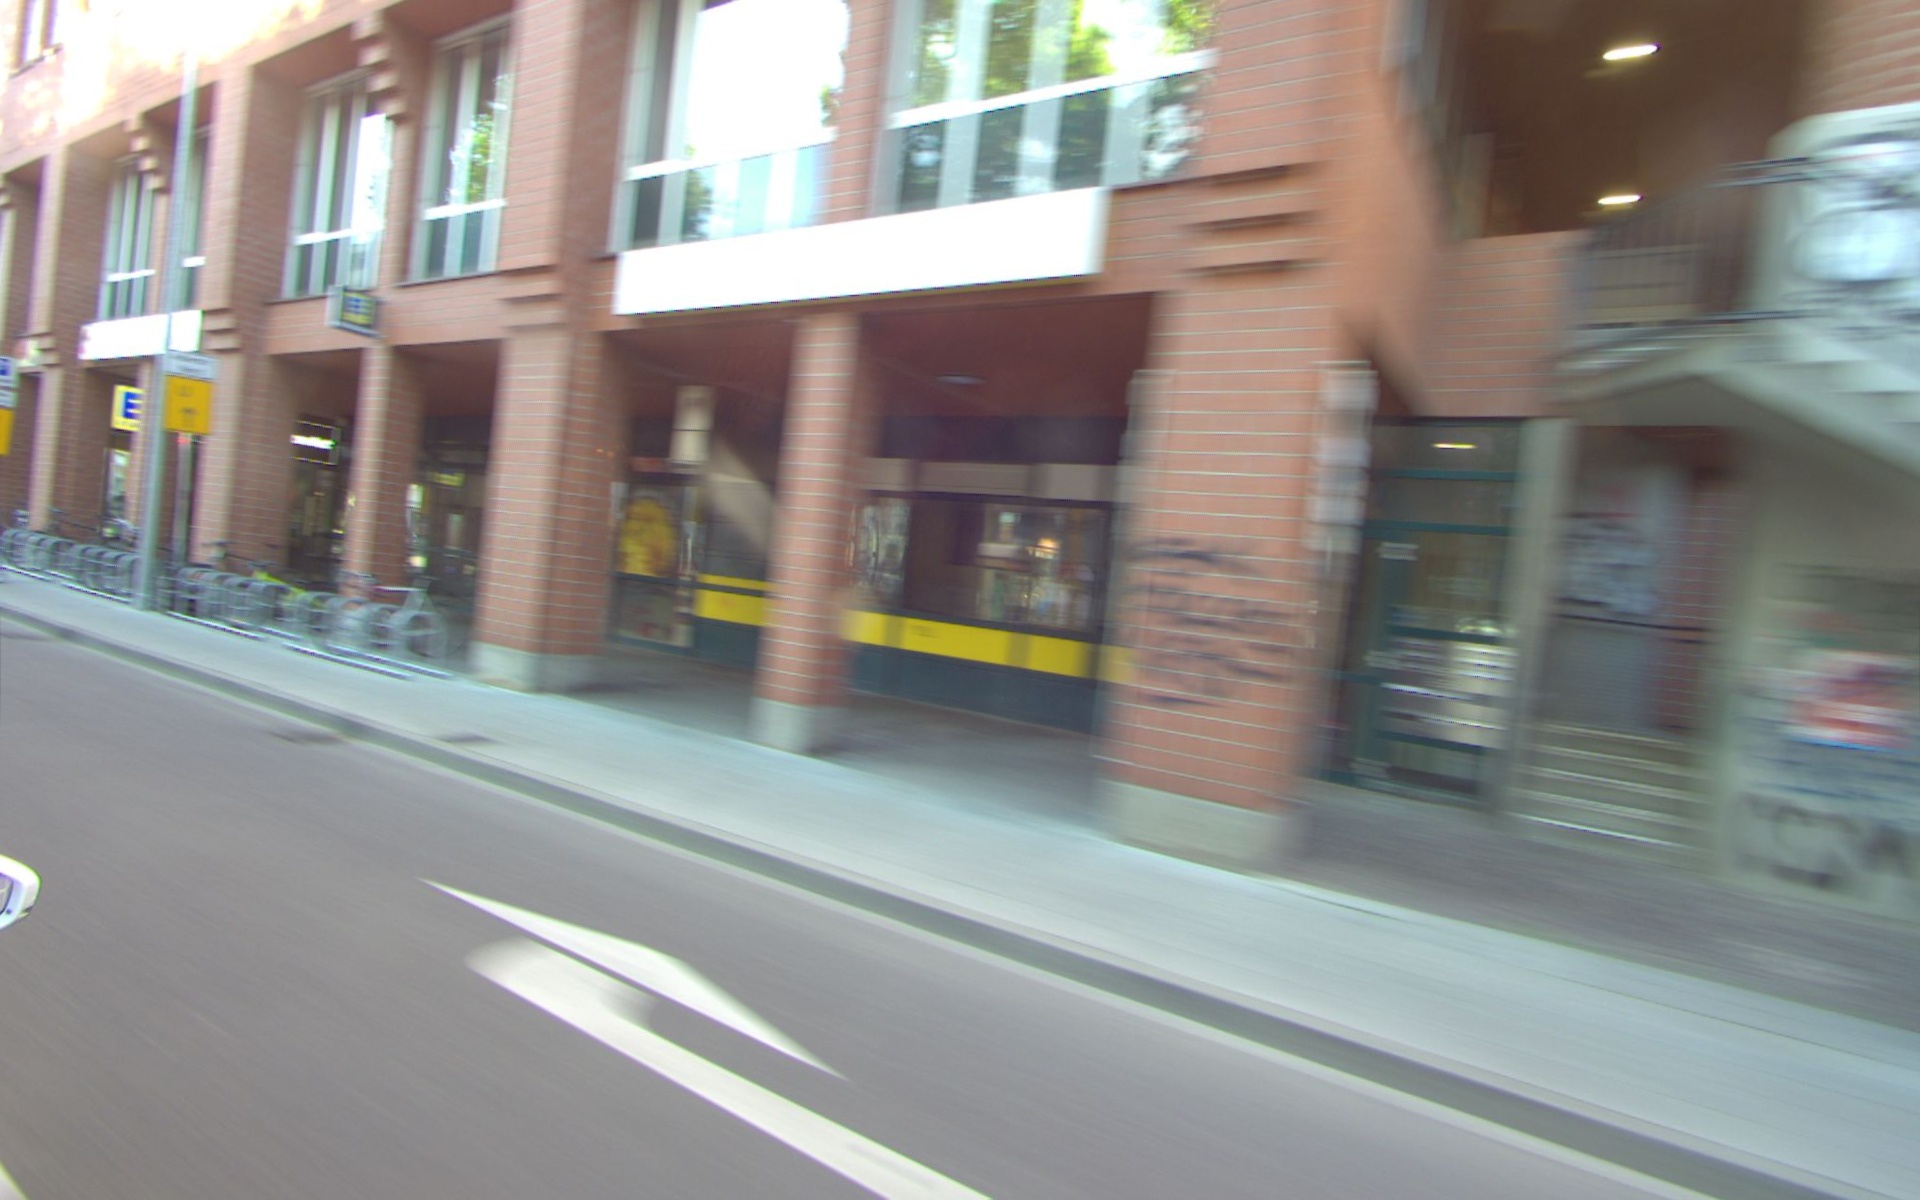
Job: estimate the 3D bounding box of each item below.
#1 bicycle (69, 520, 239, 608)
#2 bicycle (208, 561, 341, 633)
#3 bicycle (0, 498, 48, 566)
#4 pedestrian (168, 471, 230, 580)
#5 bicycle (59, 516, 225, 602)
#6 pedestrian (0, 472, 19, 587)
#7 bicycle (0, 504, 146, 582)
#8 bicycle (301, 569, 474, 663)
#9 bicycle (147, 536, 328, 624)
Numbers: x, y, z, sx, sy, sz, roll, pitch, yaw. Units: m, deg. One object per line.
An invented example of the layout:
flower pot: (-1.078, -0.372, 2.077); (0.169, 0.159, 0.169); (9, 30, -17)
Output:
bicycle: (-12.239, -0.517, 15.344); (0.541, 1.133, 1.892); (7, 1, 33)
bicycle: (-8.839, -0.024, 13.006); (0.418, 0.853, 1.333); (7, 3, 34)
bicycle: (-18.230, -1.330, 19.529); (1.651, 1.198, 0.339); (7, 1, 34)
pedestrian: (-14.878, -1.448, 19.663); (0.649, 2.039, 0.608); (7, 1, 27)
bicycle: (-12.695, -0.610, 15.680); (0.467, 1.133, 1.892); (7, 1, 33)
pedestrian: (-15.081, -1.118, 15.108); (0.871, 1.719, 1.193); (7, 3, 36)
bicycle: (-15.490, -0.965, 17.548); (0.467, 1.133, 1.892); (7, 1, 33)
bicycle: (-6.530, 0.188, 11.553); (0.546, 0.968, 1.610); (7, 3, 34)
bicycle: (-9.952, -0.249, 13.931); (0.564, 1.071, 1.931); (7, 2, 36)
